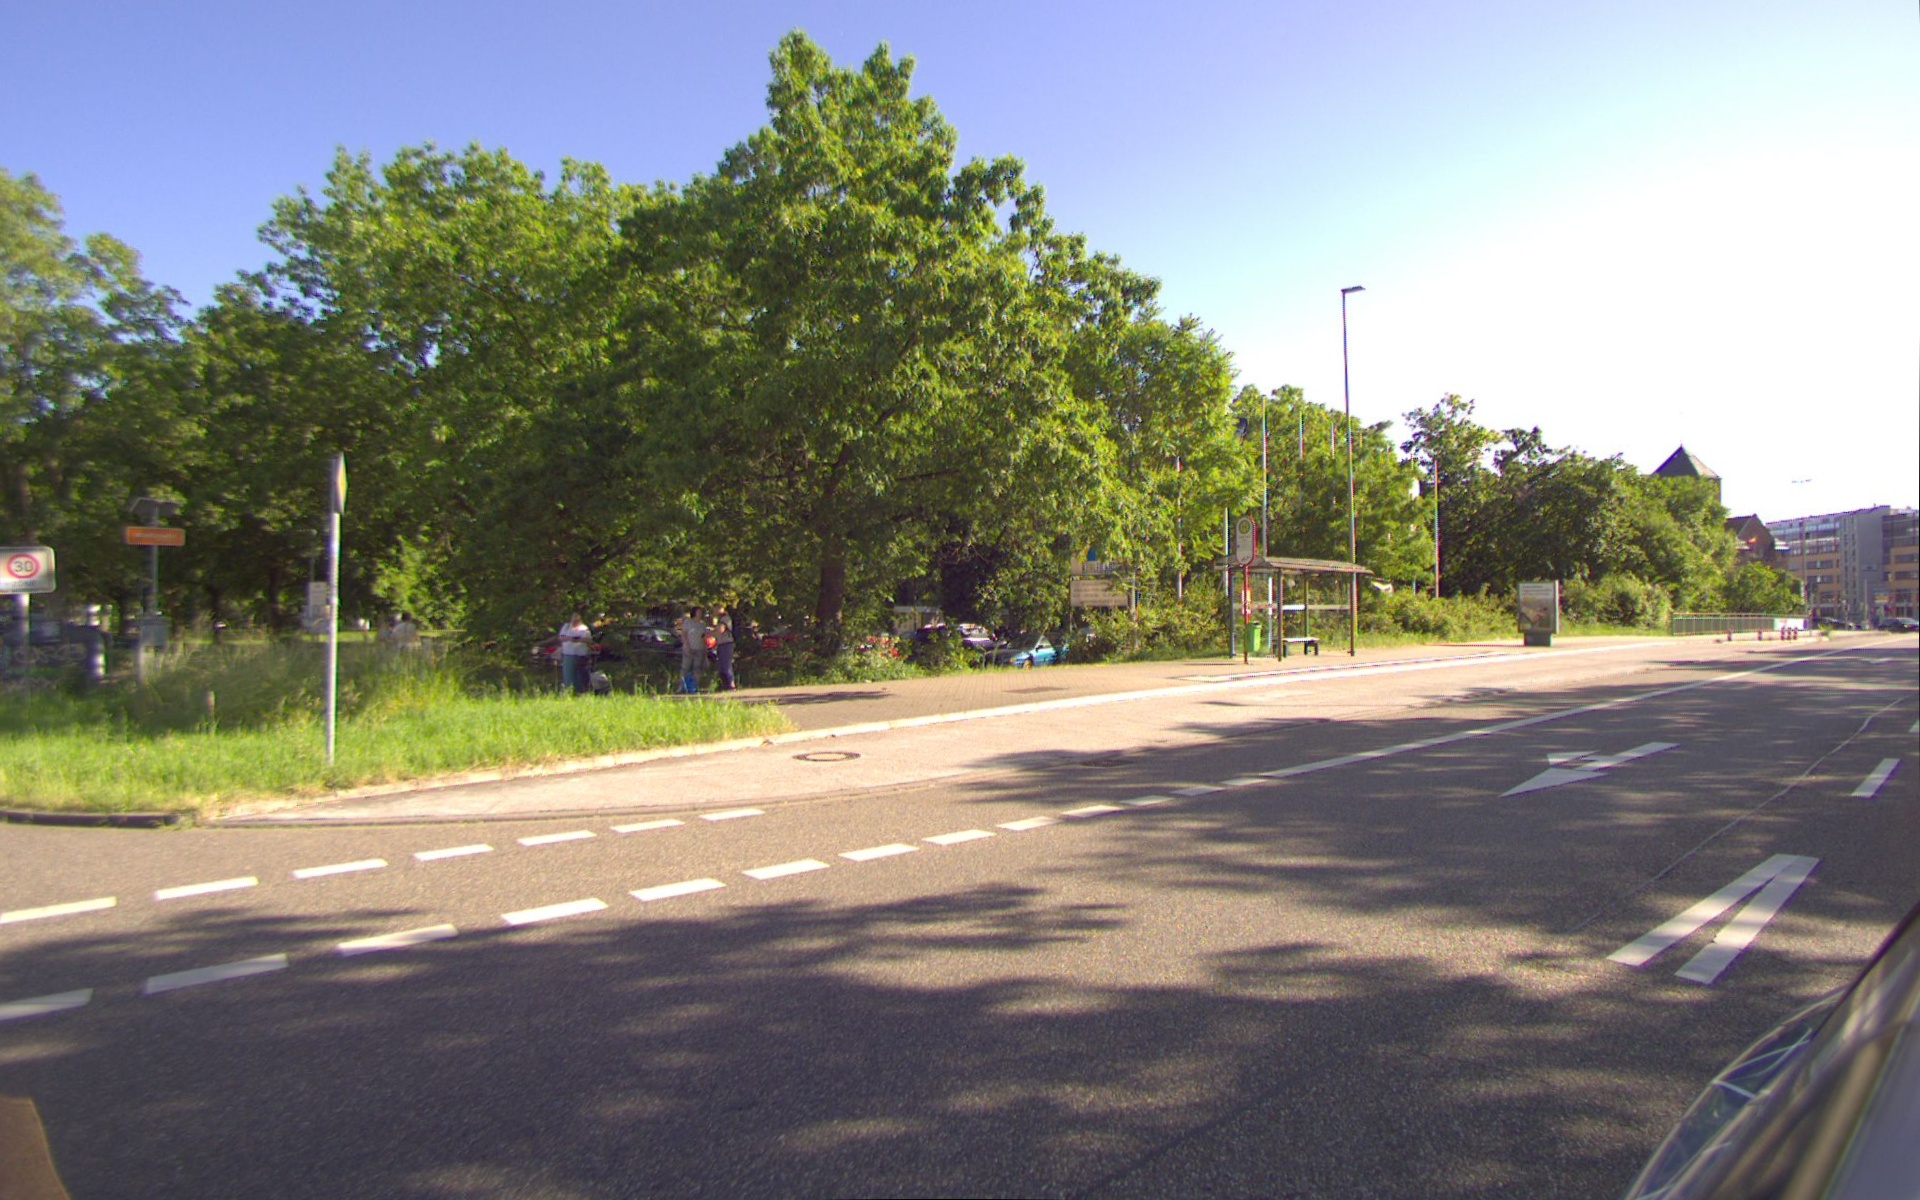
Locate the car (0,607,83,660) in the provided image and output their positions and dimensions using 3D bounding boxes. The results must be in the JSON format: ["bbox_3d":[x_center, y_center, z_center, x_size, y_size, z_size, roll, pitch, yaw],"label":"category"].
[{"bbox_3d":[-39.055,1.368,41.749,4.275,2.100,1.997,0,-1,-40],"label":"car"}]

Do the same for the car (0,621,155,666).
[{"bbox_3d":[-29.258,1.423,33.510,3.924,1.315,1.999,-1,-1,-35],"label":"car"}]

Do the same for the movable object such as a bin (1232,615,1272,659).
[{"bbox_3d":[7.082,0.881,24.526,0.568,1.043,0.727,1,-2,-43],"label":"movable object such as a bin"}]

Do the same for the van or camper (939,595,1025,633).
[{"bbox_3d":[1.384,0.848,61.136,2.448,2.186,5.247,-1,-1,41],"label":"van or camper"}]

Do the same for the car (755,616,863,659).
[{"bbox_3d":[-6.216,1.522,41.812,3.928,1.616,1.997,-1,-2,-39],"label":"car"}]

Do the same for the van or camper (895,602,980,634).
[{"bbox_3d":[-1.374,1.107,63.673,2.449,1.937,5.244,-1,-1,43],"label":"van or camper"}]

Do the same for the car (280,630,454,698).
[{"bbox_3d":[-16.486,1.734,28.190,3.929,1.628,1.997,-1,-2,-39],"label":"car"}]

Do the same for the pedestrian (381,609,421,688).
[{"bbox_3d":[-11.875,1.026,21.484,0.596,1.640,0.558,-3,-2,42],"label":"pedestrian"}]

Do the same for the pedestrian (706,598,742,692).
[{"bbox_3d":[-4.420,0.826,18.941,0.403,1.722,0.603,1,-2,-43],"label":"pedestrian"}]

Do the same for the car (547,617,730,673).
[{"bbox_3d":[-9.528,1.376,30.237,4.802,1.558,1.996,3,-4,-40],"label":"car"}]

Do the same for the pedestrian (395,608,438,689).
[{"bbox_3d":[-11.218,0.991,20.879,0.702,1.640,0.558,-3,-2,42],"label":"pedestrian"}]

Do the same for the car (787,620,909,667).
[{"bbox_3d":[-4.435,1.776,40.562,4.692,1.773,1.755,3,-5,-40],"label":"car"}]

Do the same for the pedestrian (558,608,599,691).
[{"bbox_3d":[-7.276,0.933,19.294,0.602,1.538,0.528,0,-2,-40],"label":"pedestrian"}]

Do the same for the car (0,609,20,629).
[{"bbox_3d":[-84.264,1.697,87.754,1.993,1.677,3.936,-3,-2,44],"label":"car"}]

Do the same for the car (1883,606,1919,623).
[{"bbox_3d":[84.387,1.282,89.837,1.802,1.492,3.985,-1,-1,12],"label":"car"}]

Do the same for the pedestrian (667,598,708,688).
[{"bbox_3d":[-5.137,0.790,19.066,0.542,1.655,0.622,1,-2,-42],"label":"pedestrian"}]

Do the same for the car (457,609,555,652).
[{"bbox_3d":[-14.956,0.986,33.241,3.636,1.290,1.599,-1,1,42],"label":"car"}]

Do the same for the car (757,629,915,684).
[{"bbox_3d":[-3.001,1.352,25.066,3.847,1.169,1.397,0,-1,-44],"label":"car"}]

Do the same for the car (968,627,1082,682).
[{"bbox_3d":[2.168,1.750,33.480,3.550,1.659,1.764,0,-1,-41],"label":"car"}]

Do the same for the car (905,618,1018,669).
[{"bbox_3d":[0.089,1.521,36.028,3.930,1.685,1.607,0,-2,-41],"label":"car"}]
